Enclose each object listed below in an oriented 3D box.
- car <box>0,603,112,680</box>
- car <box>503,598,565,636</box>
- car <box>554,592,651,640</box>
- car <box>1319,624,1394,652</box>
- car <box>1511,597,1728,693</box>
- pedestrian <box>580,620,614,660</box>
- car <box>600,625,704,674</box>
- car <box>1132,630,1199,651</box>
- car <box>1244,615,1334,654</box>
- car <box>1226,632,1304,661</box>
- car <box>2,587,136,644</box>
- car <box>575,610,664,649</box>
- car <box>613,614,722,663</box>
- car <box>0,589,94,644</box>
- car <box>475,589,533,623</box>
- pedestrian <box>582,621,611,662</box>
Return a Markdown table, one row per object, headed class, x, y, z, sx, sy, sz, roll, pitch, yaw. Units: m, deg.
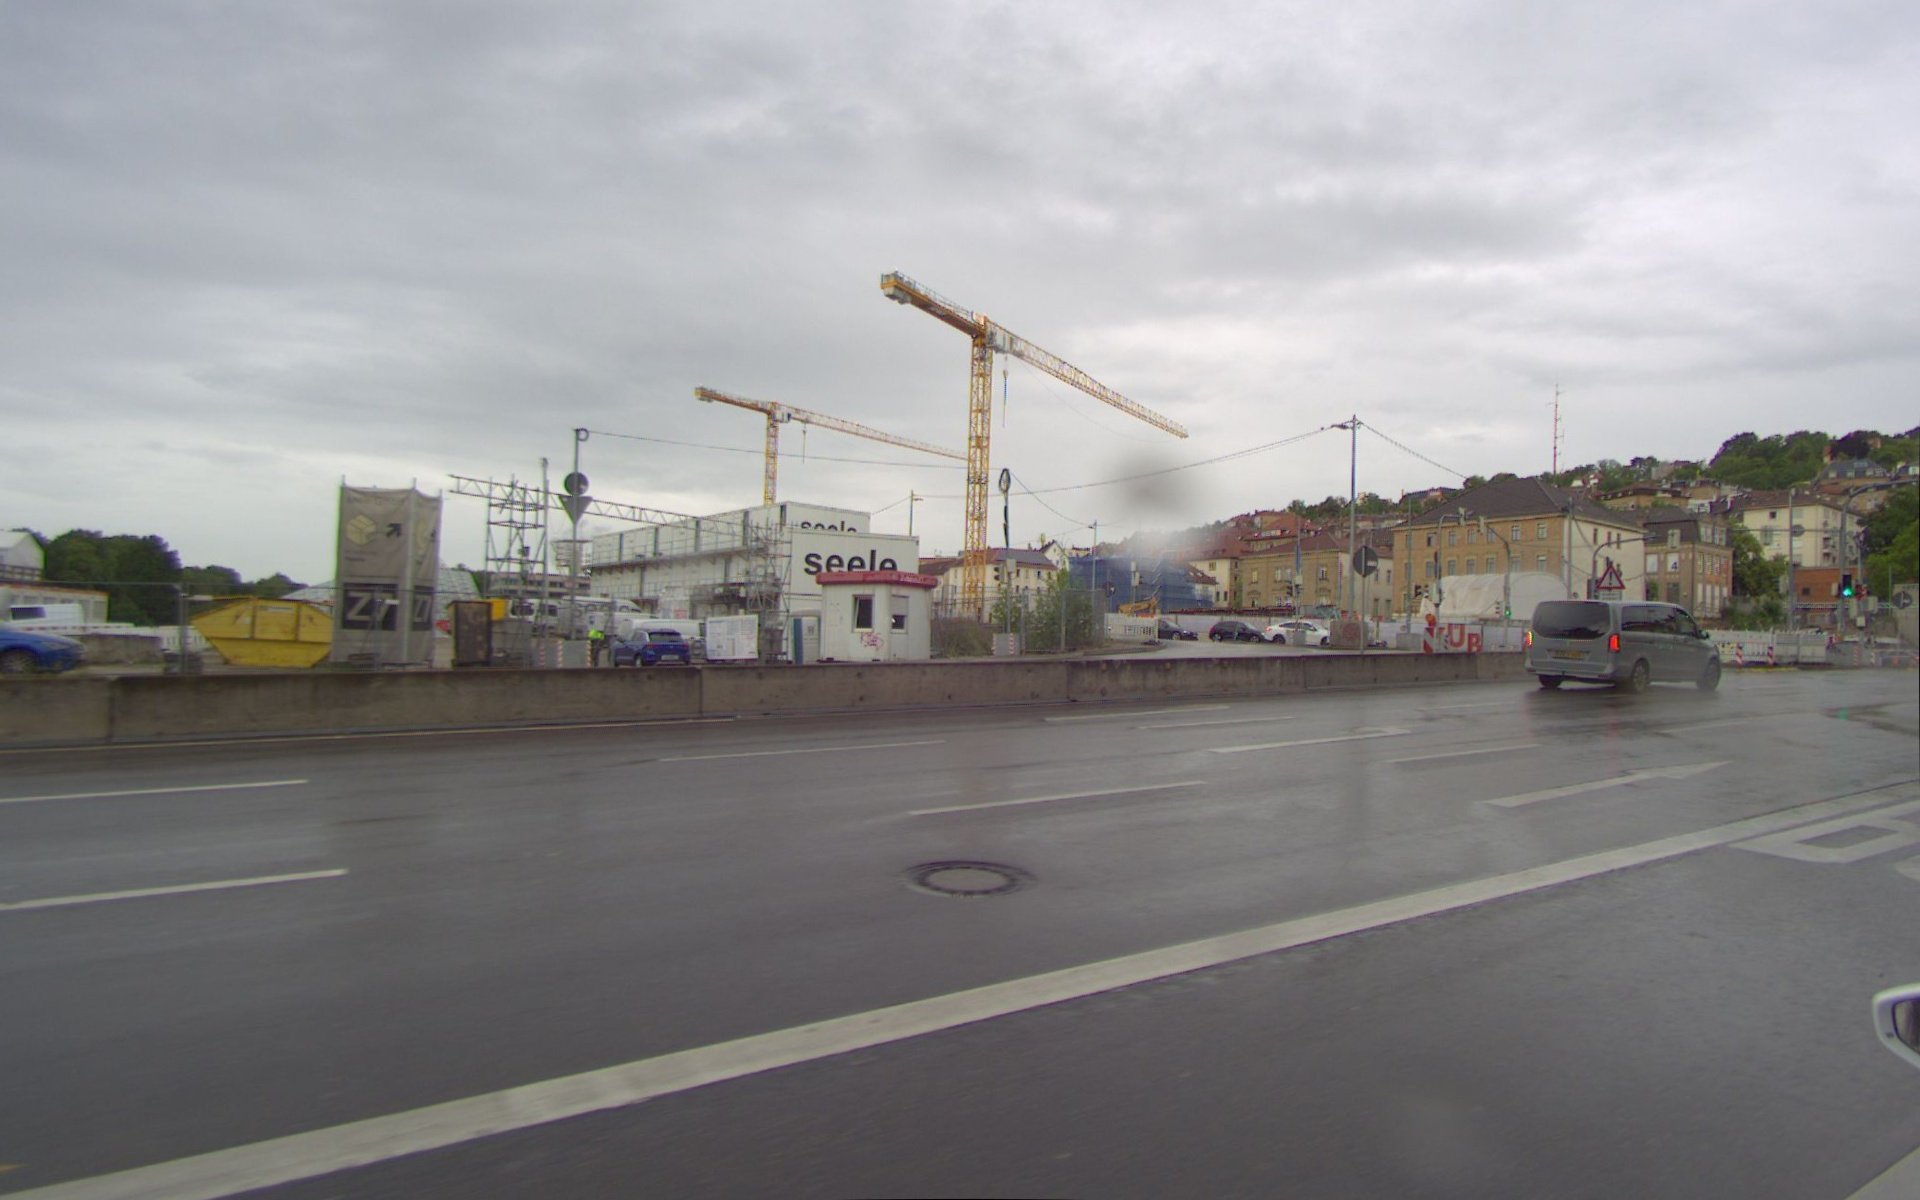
| class | x | y | z | sx | sy | sz | roll | pitch | yaw |
| --- | --- | --- | --- | --- | --- | --- | --- | --- | --- |
| car | -19.981 | 0.806 | 19.991 | 4.381 | 1.509 | 1.830 | 1 | -2 | -26 |
| car | -28.077 | 1.121 | 66.385 | 2.125 | 2.415 | 4.003 | 0 | -2 | 5 |
| car | -20.484 | 0.946 | 57.657 | 4.787 | 2.625 | 2.251 | 2 | -2 | -43 |
| car | 23.471 | 2.230 | 59.496 | 3.744 | 1.586 | 1.853 | -1 | -2 | 40 |
| car | 14.076 | 0.948 | 21.394 | 4.628 | 1.863 | 1.984 | 2 | -1 | -30 |
| pedestrian | -12.599 | 1.381 | 34.886 | 0.822 | 1.370 | 0.744 | 0 | -1 | 23 |
| car | -11.011 | 1.719 | 35.814 | 1.986 | 1.528 | 3.948 | 2 | -1 | -43 |
| car | 13.820 | 2.733 | 67.647 | 1.639 | 1.194 | 4.234 | 1 | 0 | -43 |
| car | 18.062 | 1.873 | 55.191 | 4.350 | 2.040 | 1.994 | -1 | -2 | 35 |
| car | 19.162 | 2.882 | 63.126 | 4.350 | 1.740 | 1.994 | -1 | -2 | 35 |
| car | -39.217 | 0.716 | 44.307 | 1.966 | 2.415 | 3.990 | 0 | -2 | 32 |
| car | -17.901 | 1.579 | 52.849 | 3.970 | 1.966 | 1.976 | 2 | -3 | -42 |
| car | -12.320 | 1.640 | 42.376 | 3.970 | 1.966 | 1.976 | 2 | -3 | -42 |
| car | -42.036 | 0.747 | 44.685 | 1.962 | 2.415 | 4.948 | 0 | -2 | 23 |
| car | -33.456 | 0.493 | 73.847 | 2.129 | 2.415 | 4.003 | 0 | -2 | 5 |
| pedestrian | -12.306 | 1.391 | 34.003 | 0.826 | 1.370 | 0.740 | 1 | -1 | -25 |
